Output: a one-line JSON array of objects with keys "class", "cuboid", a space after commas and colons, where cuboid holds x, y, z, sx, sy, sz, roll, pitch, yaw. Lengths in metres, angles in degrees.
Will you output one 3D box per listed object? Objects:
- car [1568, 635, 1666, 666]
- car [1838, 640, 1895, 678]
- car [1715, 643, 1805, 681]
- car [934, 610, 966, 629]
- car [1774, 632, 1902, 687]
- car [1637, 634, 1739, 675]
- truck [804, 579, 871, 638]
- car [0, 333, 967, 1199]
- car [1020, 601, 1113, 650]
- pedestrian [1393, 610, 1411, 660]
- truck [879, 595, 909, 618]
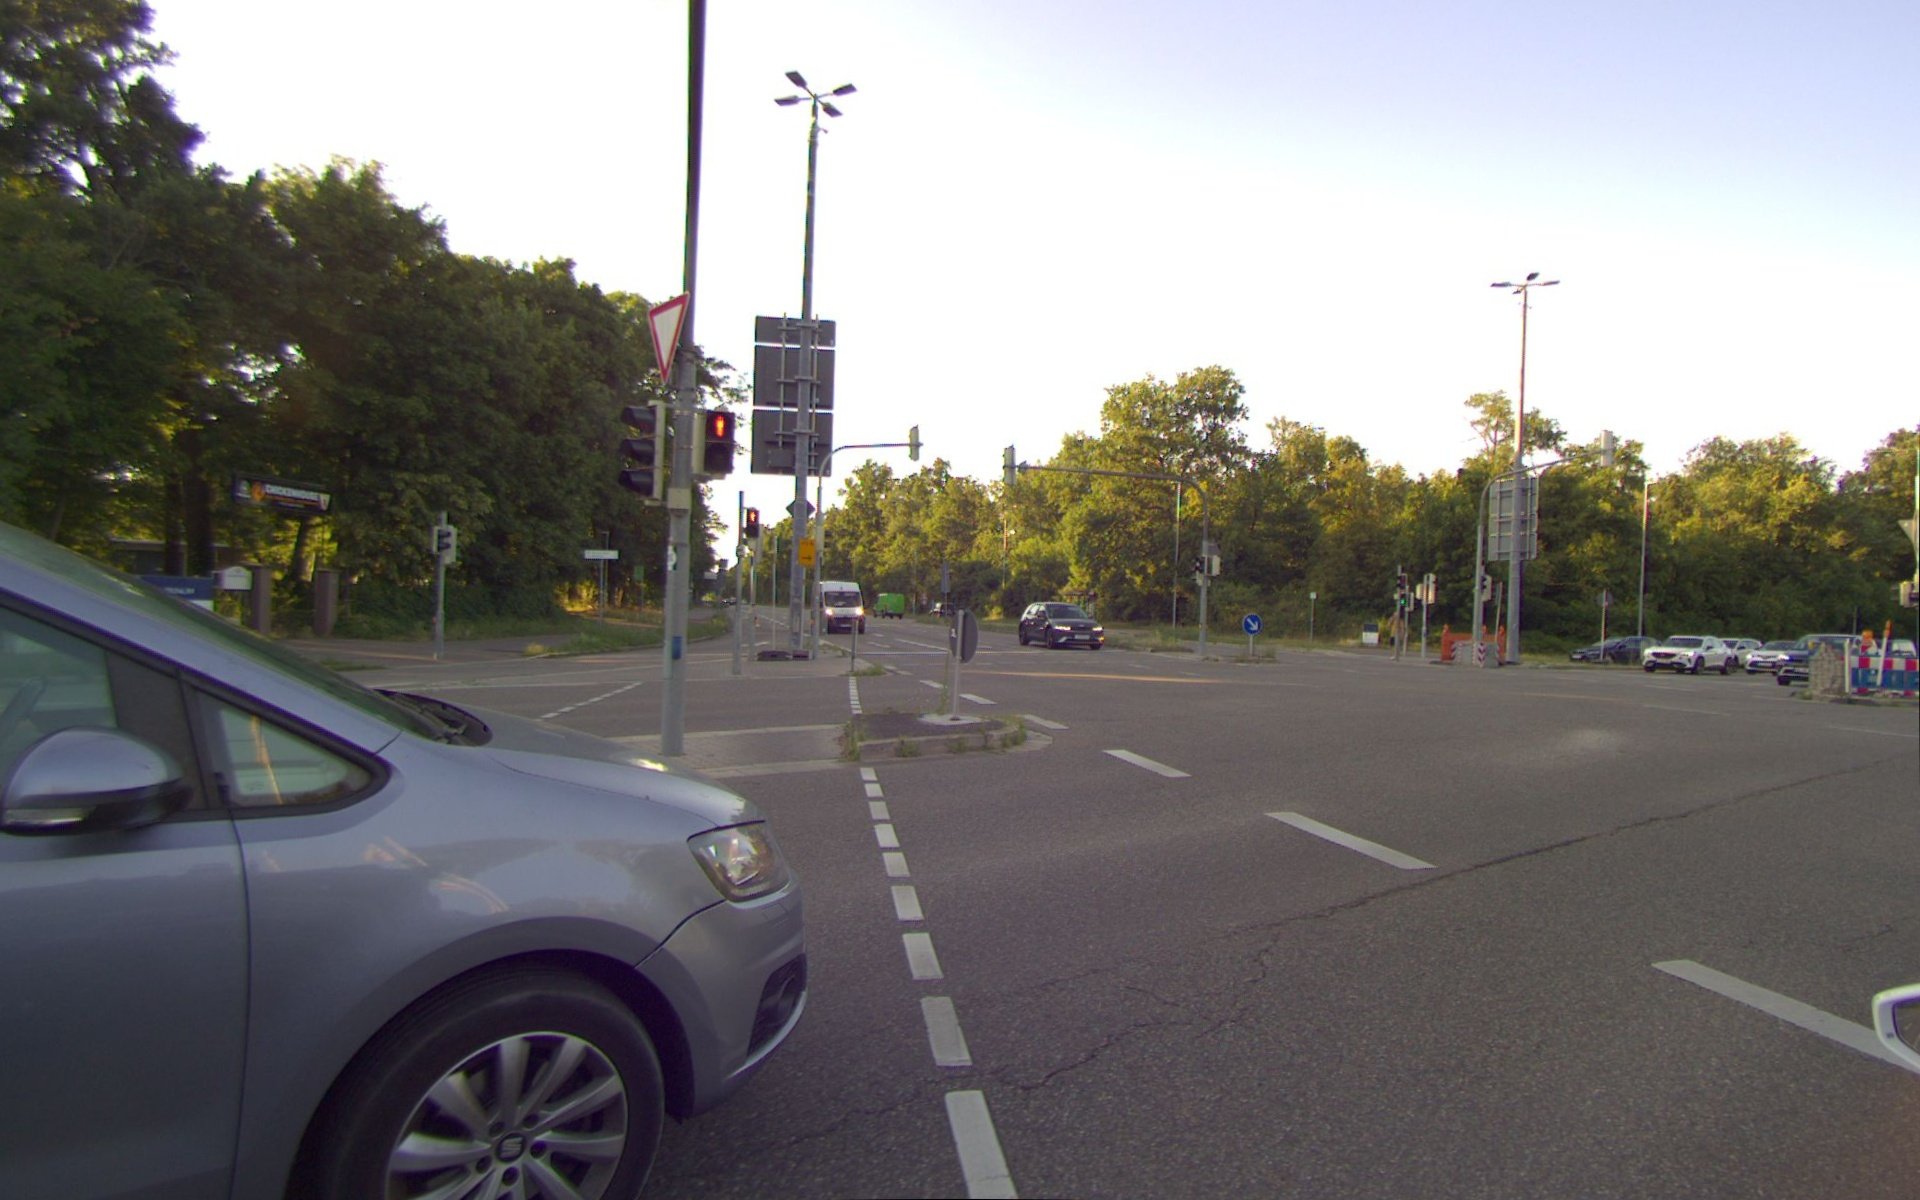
[{"class": "car", "cuboid": [29.894, 2.277, 45.749, 3.582, 1.261, 1.604, 2, 0, -9]}, {"class": "car", "cuboid": [51.654, 3.326, 57.222, 4.199, 2.051, 1.862, 2, 0, -40]}, {"class": "car", "cuboid": [34.583, 2.651, 43.407, 4.186, 1.475, 1.707, 2, 0, -32]}, {"class": "car", "cuboid": [-0.827, 1.562, 81.468, 1.636, 1.345, 4.034, 2, 1, -14]}, {"class": "car", "cuboid": [26.262, 1.747, 30.017, 4.186, 1.475, 1.707, 2, 0, -32]}, {"class": "car", "cuboid": [28.252, 2.100, 38.949, 4.186, 1.475, 1.707, 2, 0, -32]}, {"class": "truck", "cuboid": [-6.068, 0.341, 49.064, 2.561, 2.591, 6.007, 2, 1, -13]}, {"class": "car", "cuboid": [-2.374, 0.466, 1.862, 4.618, 1.747, 1.852, 2, 0, -38]}, {"class": "car", "cuboid": [3.693, 0.867, 35.675, 1.969, 1.540, 3.988, 2, 0, -15]}, {"class": "pedestrian", "cuboid": [16.428, 1.284, 37.357, 0.564, 1.824, 0.749, 2, 0, 23]}, {"class": "truck", "cuboid": [-6.462, 0.590, 97.906, 1.968, 2.149, 3.986, 2, 0, -16]}]
